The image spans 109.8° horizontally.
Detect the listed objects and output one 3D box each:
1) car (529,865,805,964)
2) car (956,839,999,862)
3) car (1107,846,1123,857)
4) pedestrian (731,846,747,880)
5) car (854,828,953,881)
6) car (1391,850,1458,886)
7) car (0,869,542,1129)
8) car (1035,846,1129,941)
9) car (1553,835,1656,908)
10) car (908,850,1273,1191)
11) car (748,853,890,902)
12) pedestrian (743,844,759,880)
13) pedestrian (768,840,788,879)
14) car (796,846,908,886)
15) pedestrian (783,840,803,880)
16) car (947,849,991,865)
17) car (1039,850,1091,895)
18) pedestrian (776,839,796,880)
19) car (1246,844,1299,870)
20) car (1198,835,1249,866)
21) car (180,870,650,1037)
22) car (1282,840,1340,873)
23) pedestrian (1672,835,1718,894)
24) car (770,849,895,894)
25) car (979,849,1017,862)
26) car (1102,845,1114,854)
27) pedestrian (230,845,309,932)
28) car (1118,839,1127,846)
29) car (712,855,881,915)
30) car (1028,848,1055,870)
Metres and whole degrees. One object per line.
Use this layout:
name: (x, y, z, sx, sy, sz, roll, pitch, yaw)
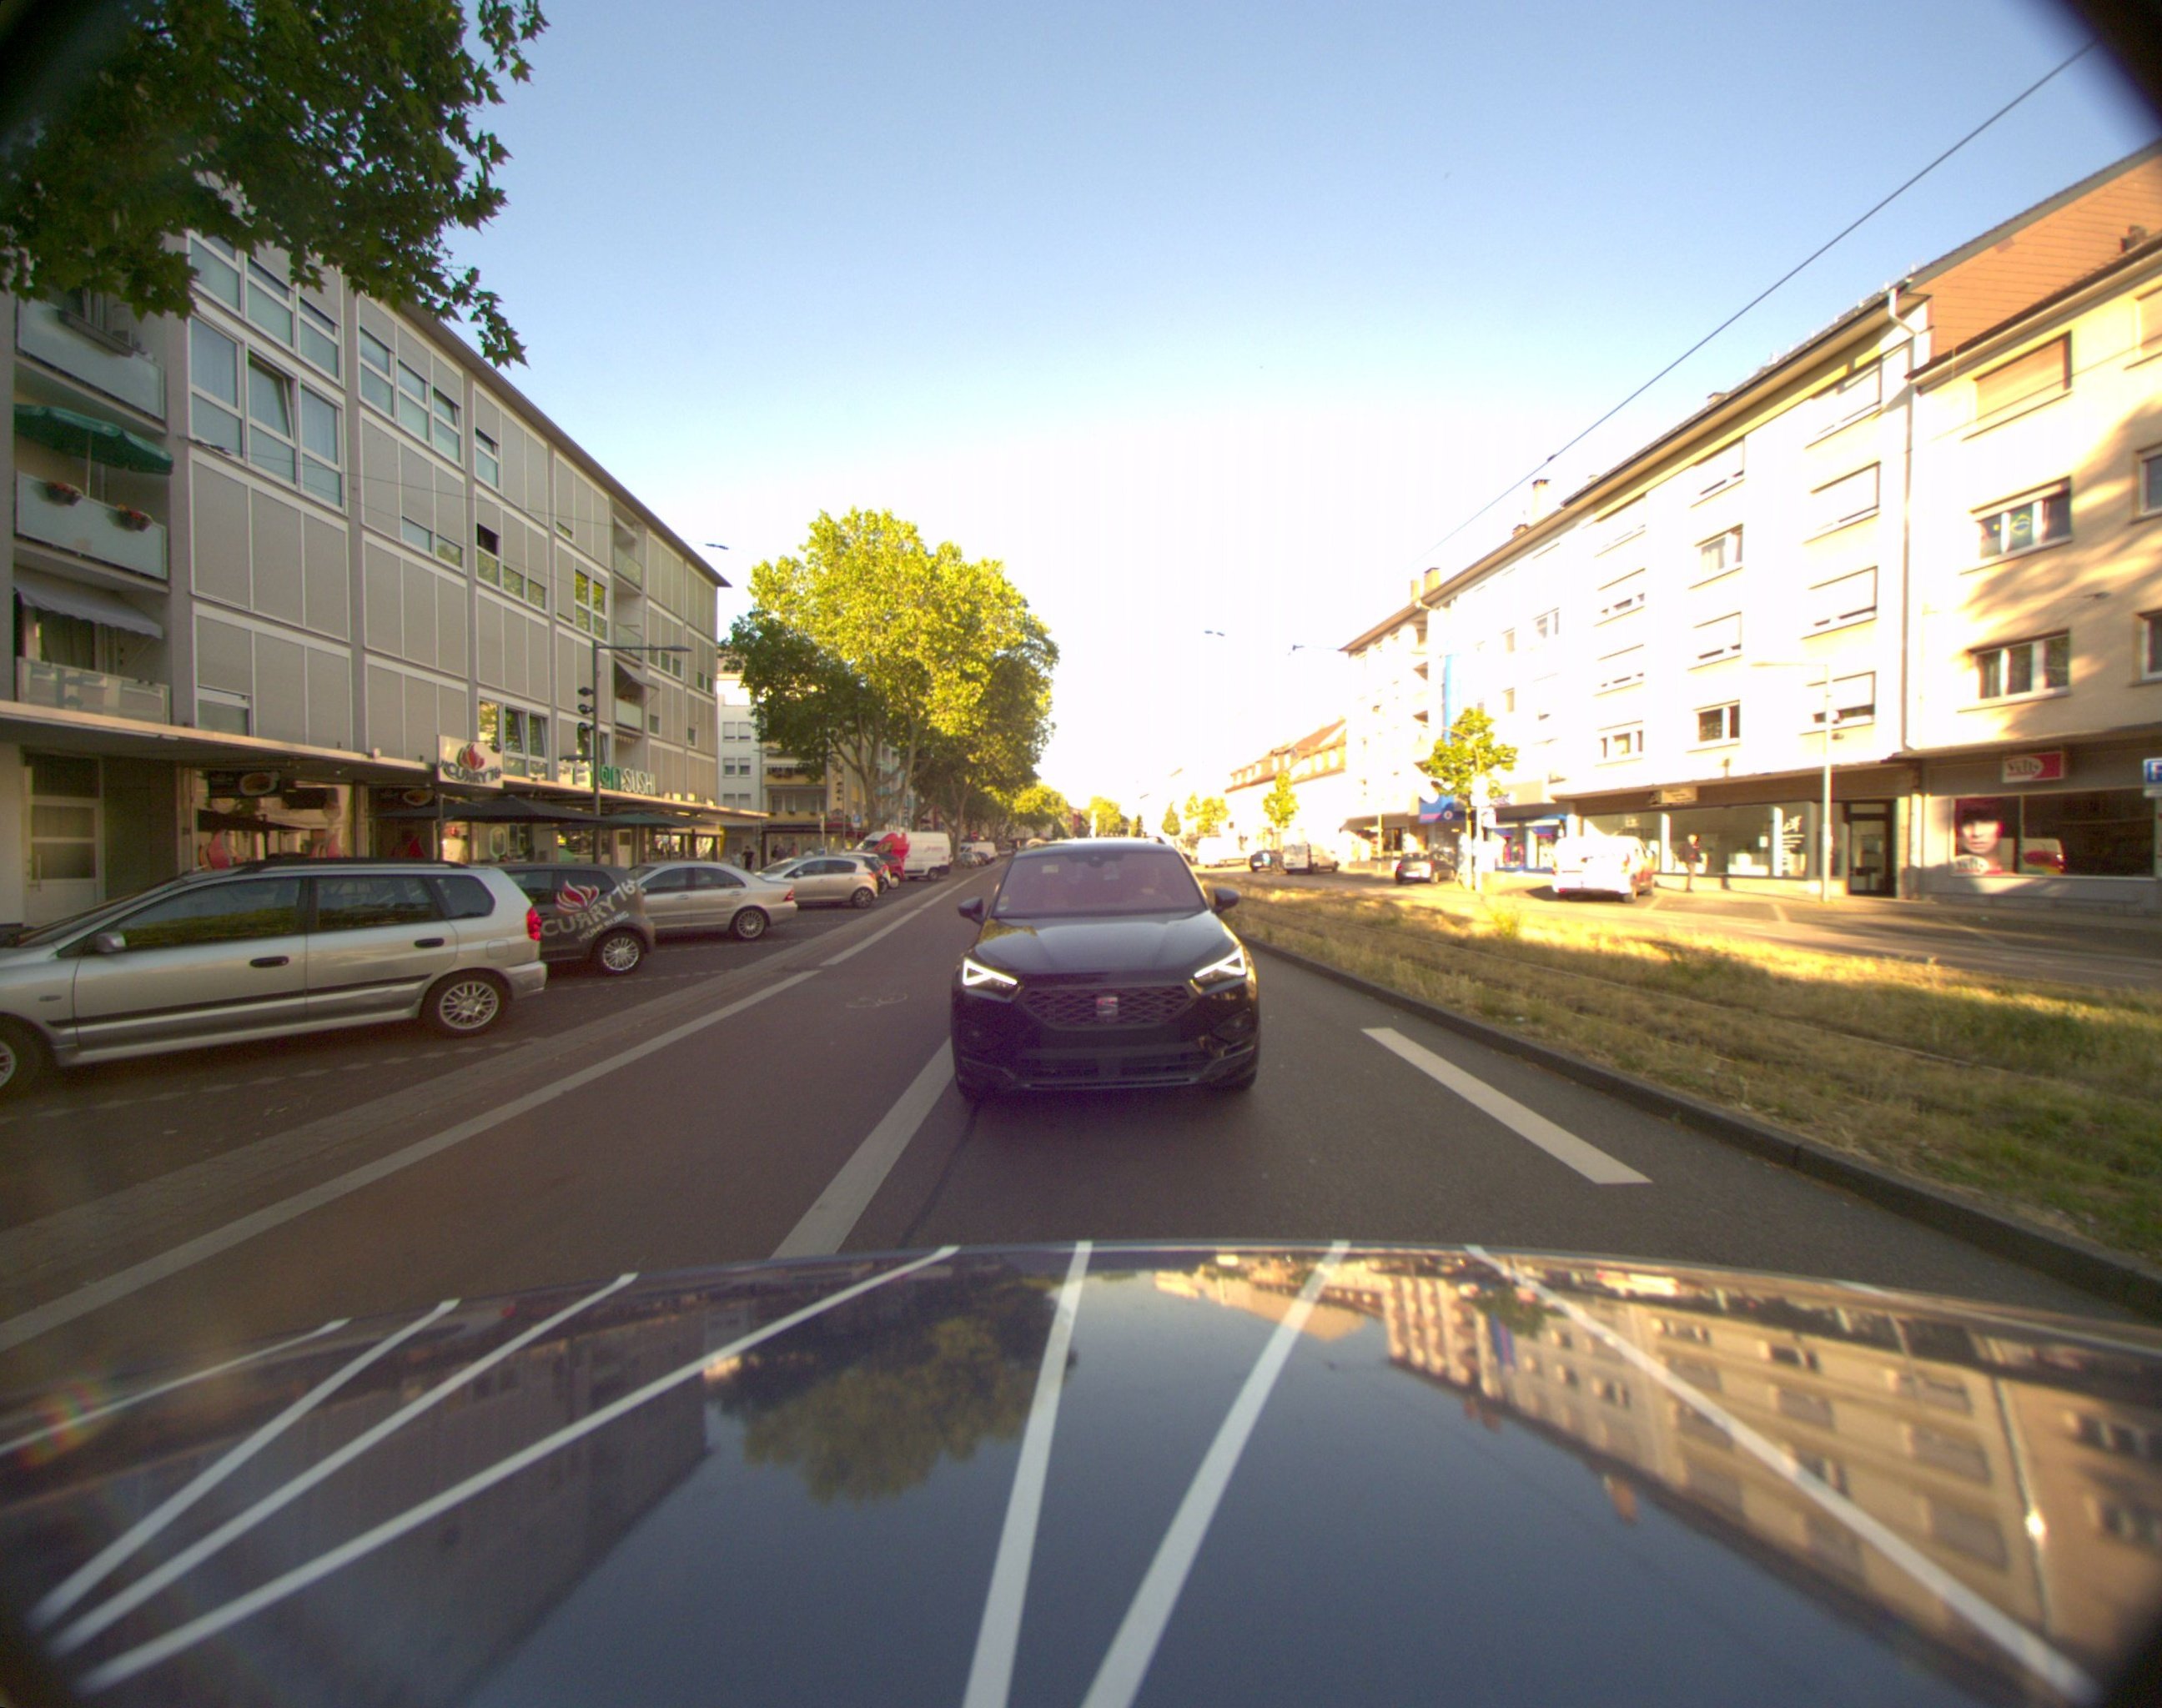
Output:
car: (-7.107, 0.935, 13.357, 1.592, 1.393, 3.950, 2, 1, 41)
car: (-11.566, -0.419, 85.134, 1.973, 2.454, 4.605, 1, 1, 44)
car: (4.911, -0.346, 109.743, 1.846, 1.571, 4.448, 0, 1, -4)
pedestrian: (-16.485, 0.407, 36.607, 0.537, 1.630, 0.478, 0, 1, -4)
car: (-8.753, 0.028, 37.833, 4.606, 2.479, 1.672, 0, 0, -44)
car: (15.427, 0.581, 33.997, 1.731, 1.431, 4.008, -1, 1, 40)
car: (-6.892, 0.945, 5.994, 1.672, 1.533, 3.993, 2, 1, 38)
car: (0.000, 0.694, 15.754, 1.646, 1.646, 3.999, -2, 1, -1)
car: (15.620, 0.450, 22.579, 1.853, 1.888, 4.007, -1, 2, 44)
car: (0.080, 0.838, 5.843, 1.785, 1.639, 3.999, -2, 1, 1)
car: (-8.264, 0.725, 24.075, 3.949, 1.420, 1.672, 1, 1, -34)
pedestrian: (-15.926, 0.367, 36.693, 0.545, 1.710, 0.457, 0, 1, -4)
pedestrian: (-15.364, 0.278, 38.524, 0.748, 1.964, 0.575, 0, 1, -4)
car: (-9.174, 0.492, 30.534, 3.948, 1.421, 1.672, 1, 2, -32)
pedestrian: (-14.558, 0.278, 38.434, 0.748, 2.002, 0.764, 0, 1, -4)
car: (-10.734, 0.276, 72.883, 1.778, 1.396, 3.943, 1, 1, 44)
car: (-0.574, 0.634, 28.287, 1.729, 1.467, 3.999, -2, 1, -1)
pedestrian: (-14.495, 0.248, 37.339, 0.748, 2.002, 0.559, 0, 1, -4)
car: (13.817, 0.190, 54.687, 3.922, 1.704, 1.853, -2, 1, -45)
car: (12.945, -0.364, 68.660, 1.922, 2.599, 6.601, -1, 1, 34)
car: (-7.599, 0.961, 9.033, 1.672, 1.420, 3.950, 2, 1, 38)
car: (14.526, 0.110, 47.833, 1.853, 1.927, 4.513, -1, 1, 40)
pedestrian: (19.248, 0.325, 23.832, 0.756, 1.817, 0.917, -1, 1, 9)
car: (-8.900, 0.634, 27.333, 3.948, 1.421, 1.672, 2, 2, -32)
car: (-9.033, 0.159, 82.835, 1.778, 1.326, 3.943, 1, 1, 44)
car: (5.383, -0.852, 152.710, 1.999, 1.783, 3.998, 0, 1, -4)
pedestrian: (-15.095, 0.624, 14.151, 0.583, 1.573, 0.771, 0, 1, 2)
car: (12.840, -3.538, 235.781, 2.497, 1.871, 5.275, 0, 1, 4)
car: (-7.575, 0.791, 20.490, 3.950, 1.420, 1.555, 1, 1, -45)
car: (-2.801, 0.348, 54.983, 1.729, 1.443, 4.227, -2, 1, -1)
